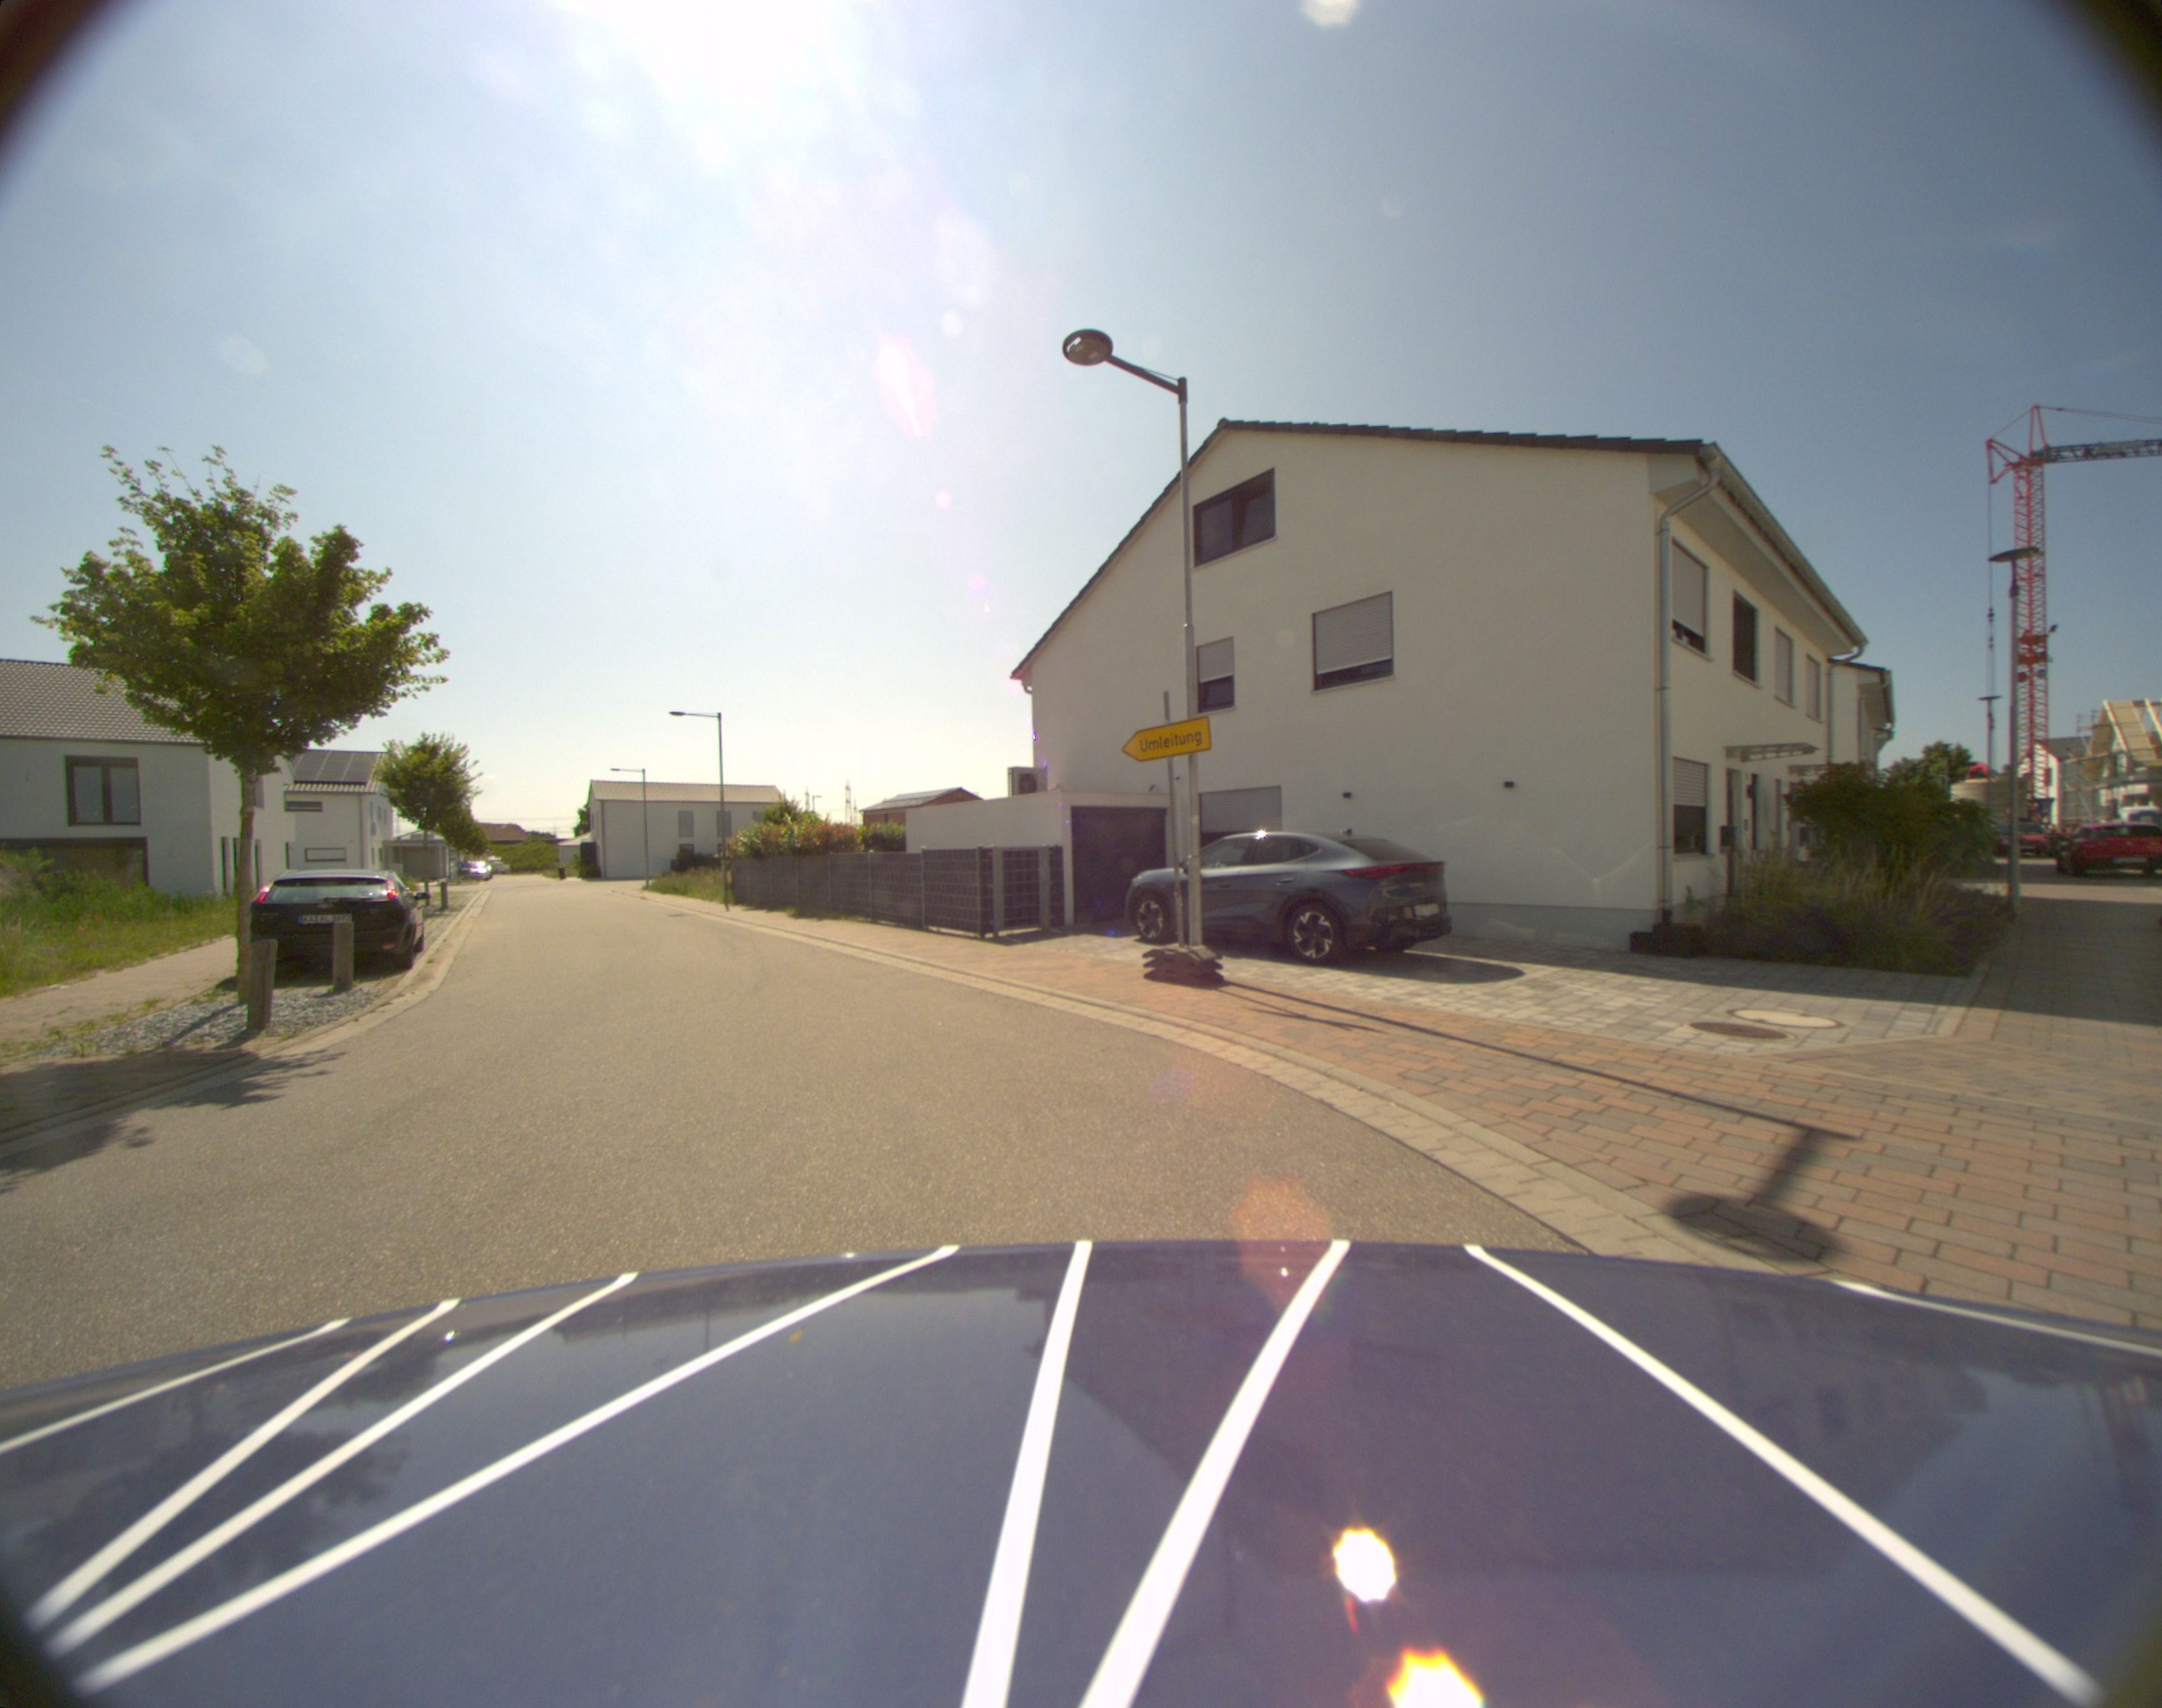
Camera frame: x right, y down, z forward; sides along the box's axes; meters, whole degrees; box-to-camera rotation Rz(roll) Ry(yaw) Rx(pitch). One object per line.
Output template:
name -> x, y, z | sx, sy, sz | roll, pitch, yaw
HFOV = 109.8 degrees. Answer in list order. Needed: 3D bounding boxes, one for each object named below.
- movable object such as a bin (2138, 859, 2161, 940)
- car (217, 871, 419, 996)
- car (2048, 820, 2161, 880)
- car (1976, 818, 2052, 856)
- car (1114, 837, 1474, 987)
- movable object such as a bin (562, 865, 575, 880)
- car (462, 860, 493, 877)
movable object such as a bin -> 14.753, 0.604, 10.076 | 0.591, 1.058, 0.822 | -4, 2, -40
car -> -11.601, 1.063, 11.801 | 1.853, 1.485, 4.182 | -4, 1, -42
car -> 28.694, -0.154, 21.245 | 4.007, 1.470, 1.907 | -3, 2, -40
car -> 42.840, -0.803, 34.957 | 1.798, 1.609, 3.683 | -1, 2, 44
car -> 2.594, 0.602, 10.196 | 1.964, 1.549, 4.339 | -1, 0, -37
movable object such as a bin -> -39.373, 1.413, 58.404 | 0.809, 1.092, 0.670 | -2, 1, -35
car -> -54.155, 1.254, 68.214 | 1.929, 1.412, 4.409 | -2, 1, -36
